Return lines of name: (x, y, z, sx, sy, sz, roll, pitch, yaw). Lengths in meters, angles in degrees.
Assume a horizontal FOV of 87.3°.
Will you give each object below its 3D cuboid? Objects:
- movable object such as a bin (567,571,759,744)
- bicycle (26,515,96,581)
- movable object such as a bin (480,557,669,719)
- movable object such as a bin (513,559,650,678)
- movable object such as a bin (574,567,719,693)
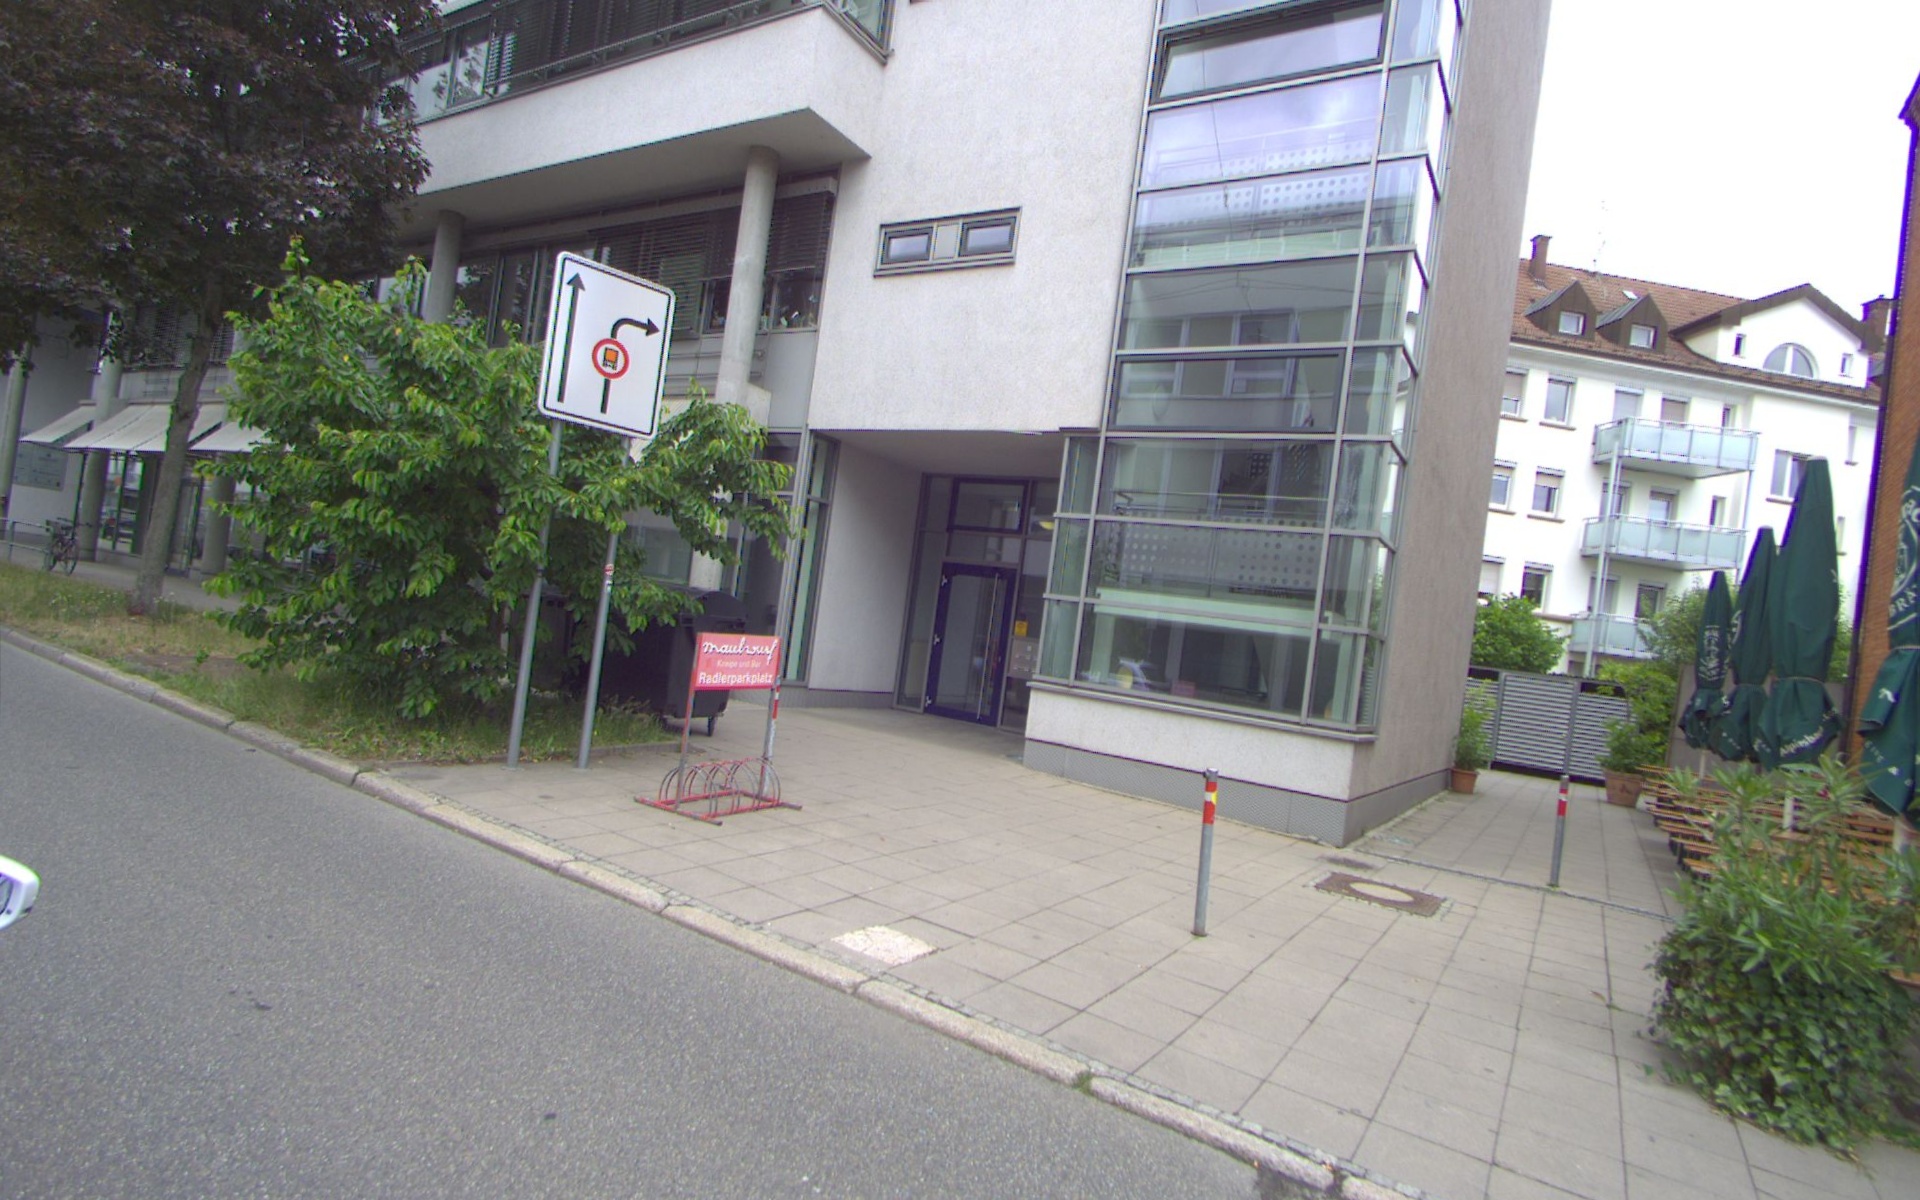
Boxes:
movable object such as a bin: (-2.939, 0.556, 10.007, 1.311, 1.484, 1.099, 7, 1, 31)
bicycle: (-17.821, -1.048, 19.926, 1.993, 1.099, 0.361, 7, -2, 31)
movable object such as a bin: (-4.089, 0.400, 10.695, 1.389, 1.484, 1.128, 7, 1, 31)
movable object such as a bin: (-5.320, 0.269, 14.146, 1.311, 1.484, 1.099, 7, 1, 31)
movable object such as a bin: (-4.185, 0.406, 13.450, 1.311, 1.484, 1.123, 7, 1, 31)
